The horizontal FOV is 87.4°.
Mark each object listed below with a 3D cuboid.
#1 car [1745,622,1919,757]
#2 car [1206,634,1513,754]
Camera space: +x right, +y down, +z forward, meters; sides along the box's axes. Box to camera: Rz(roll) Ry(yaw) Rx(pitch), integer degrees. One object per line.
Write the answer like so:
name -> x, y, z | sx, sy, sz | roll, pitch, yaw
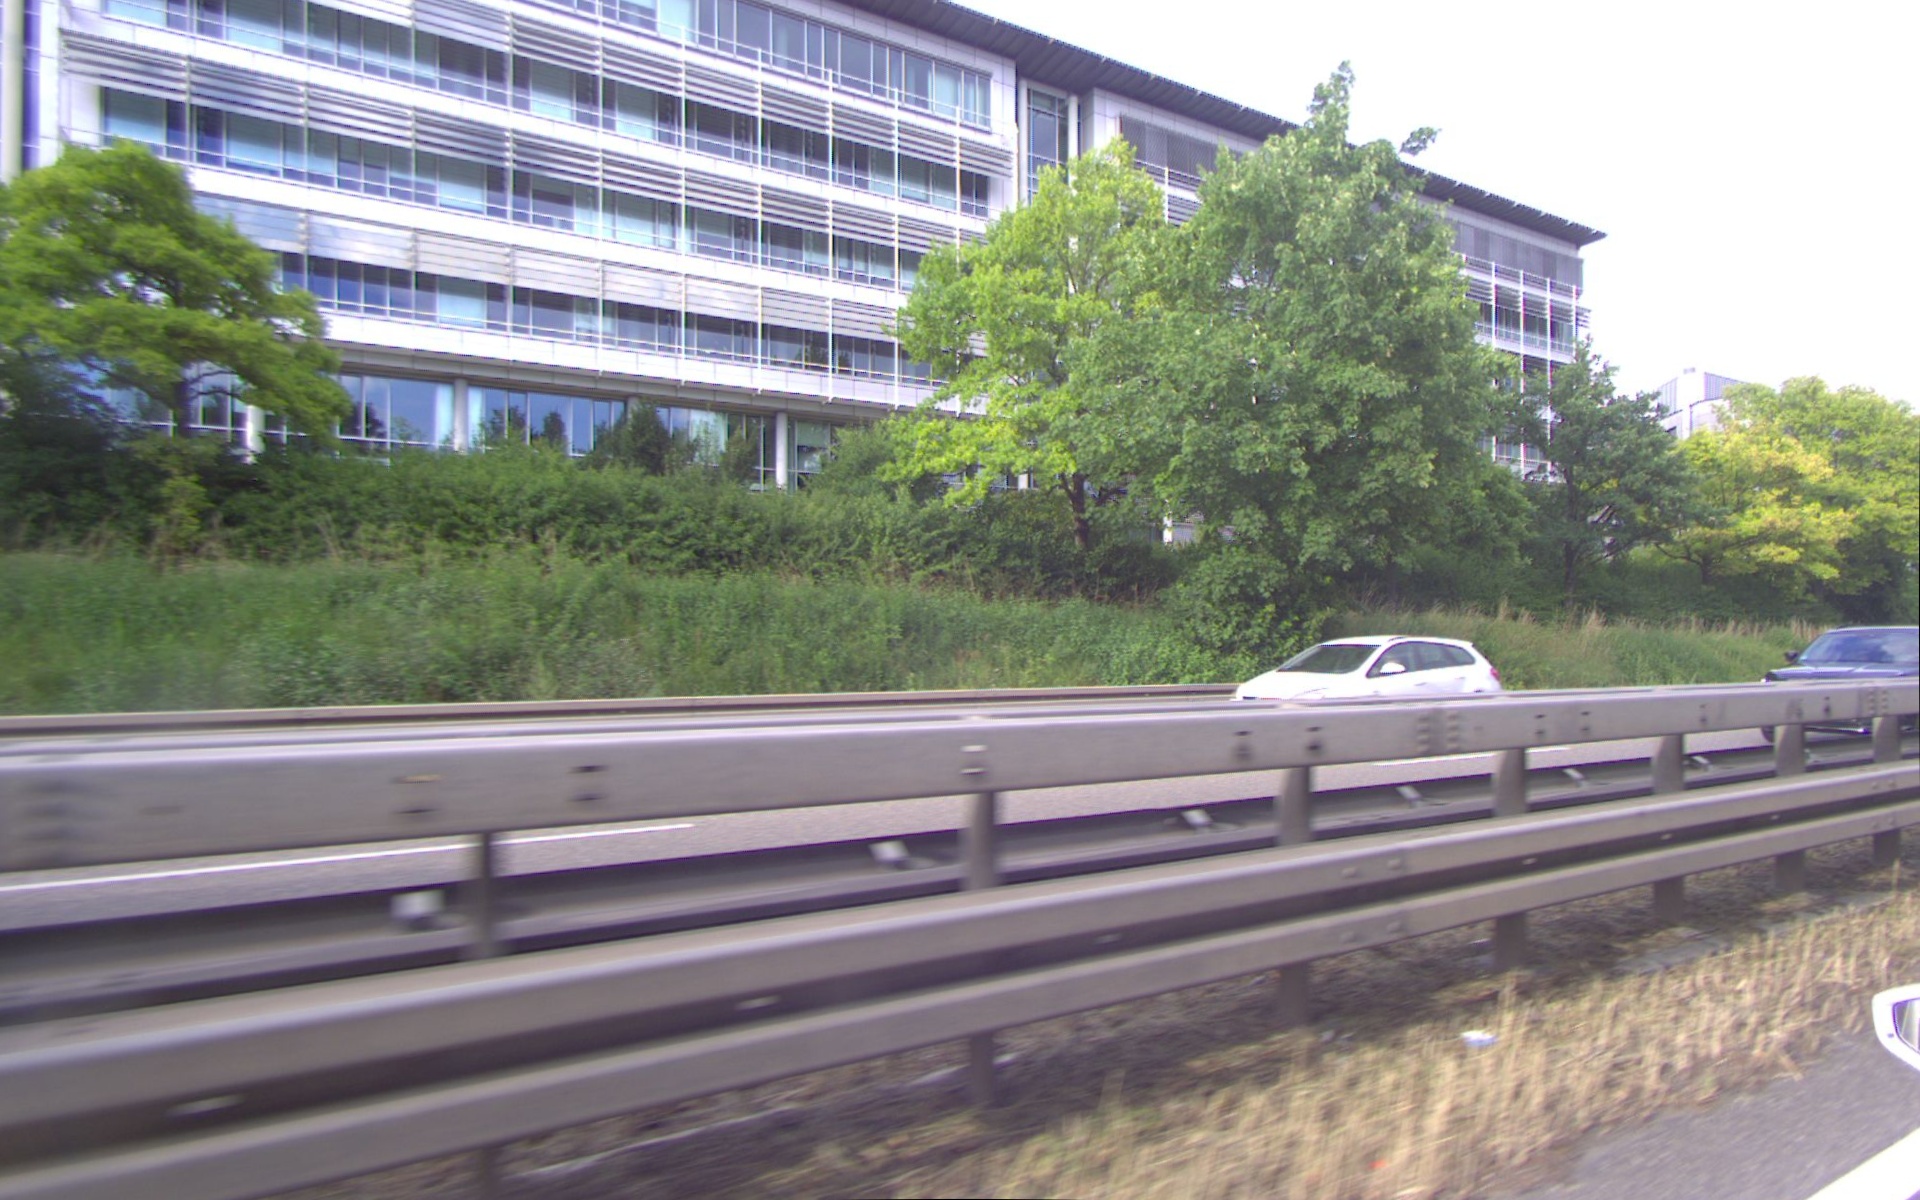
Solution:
car -> 13.542, 1.175, 14.450 | 5.217, 1.666, 1.735 | 1, -2, -30
car -> 5.813, 1.272, 14.500 | 4.365, 1.504, 1.809 | 1, -3, -30
